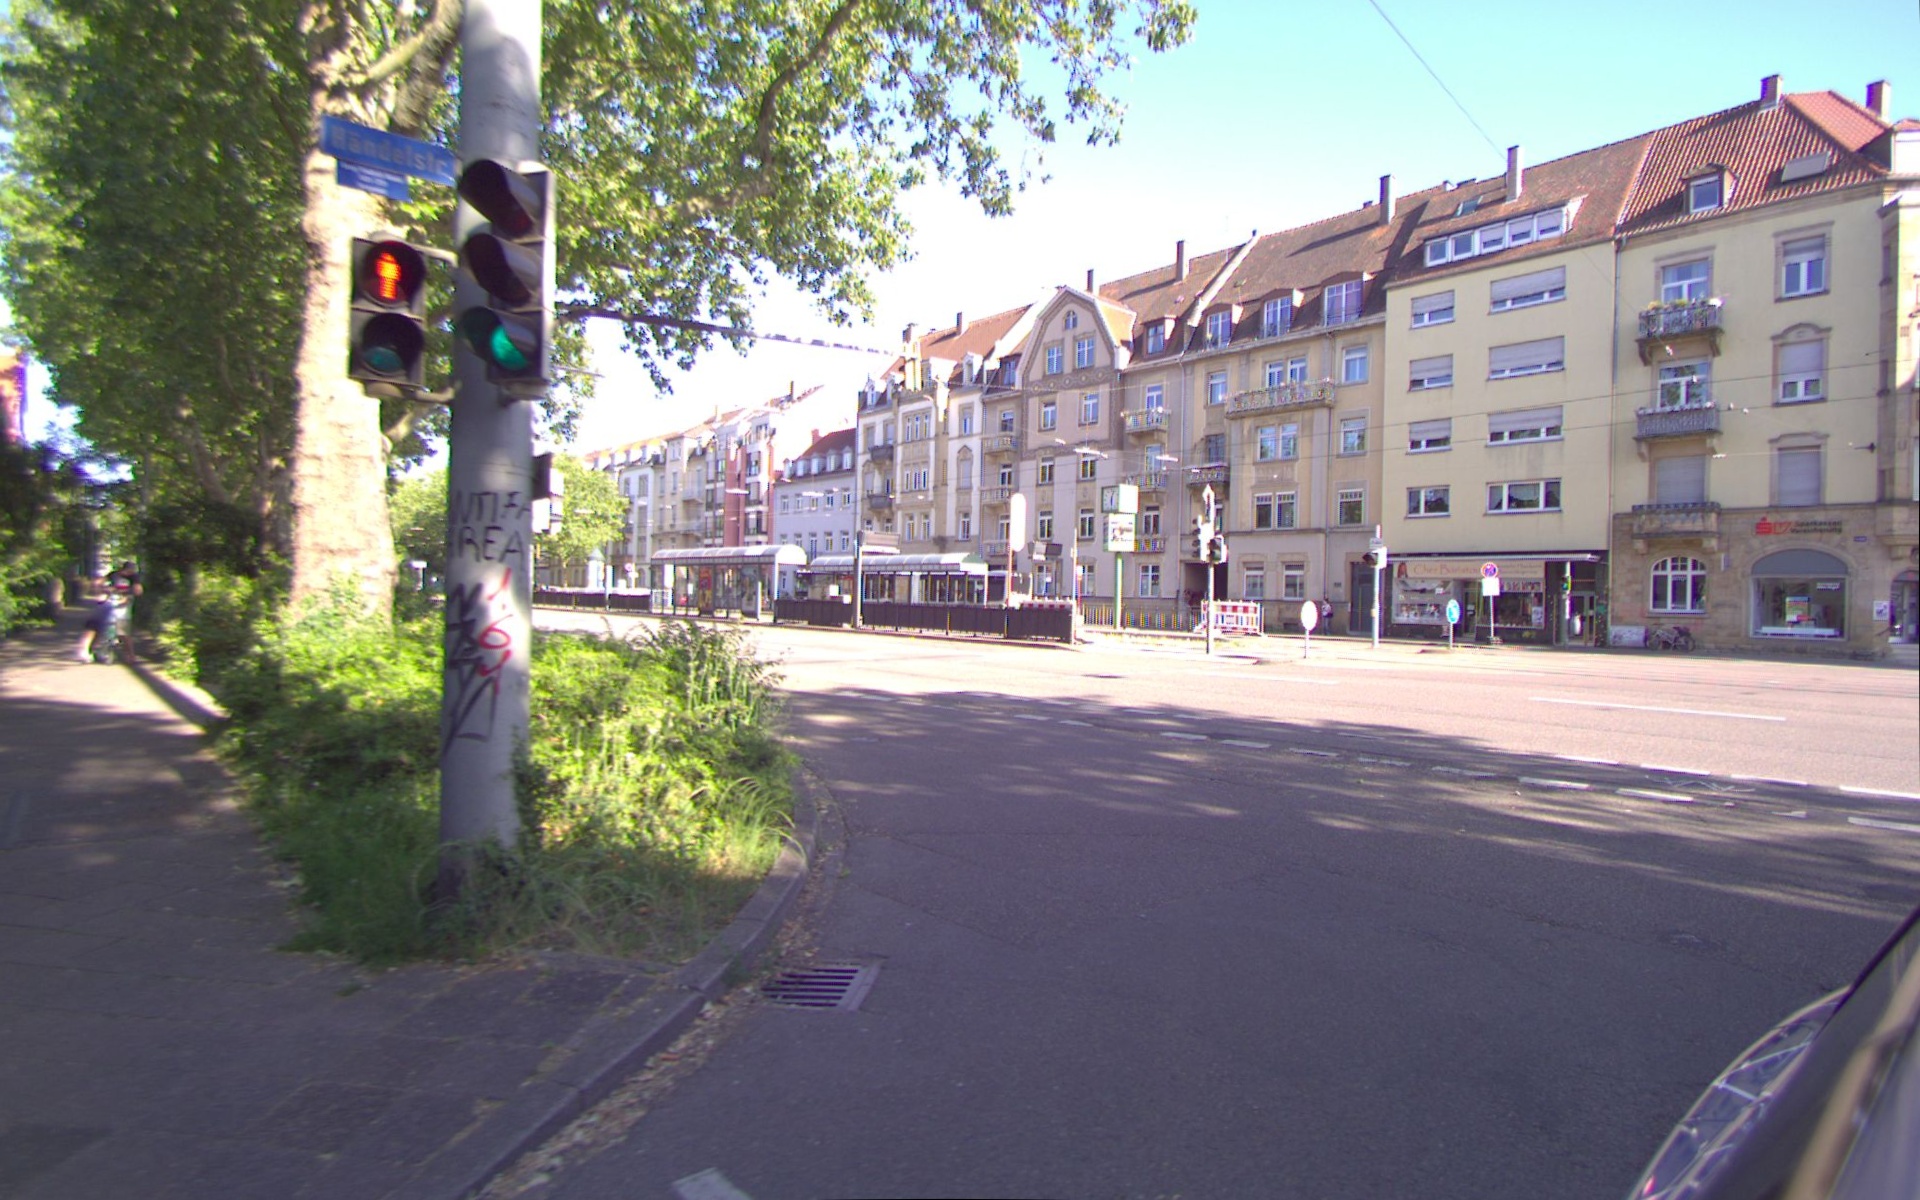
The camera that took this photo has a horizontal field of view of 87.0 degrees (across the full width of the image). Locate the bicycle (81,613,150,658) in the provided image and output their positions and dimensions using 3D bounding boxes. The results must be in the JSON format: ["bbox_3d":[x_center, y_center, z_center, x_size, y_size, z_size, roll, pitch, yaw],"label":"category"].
[{"bbox_3d":[-13.185,0.543,15.819,0.368,0.656,1.067,1,0,-13],"label":"bicycle"}]

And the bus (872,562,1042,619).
[{"bbox_3d":[-0.358,-0.653,61.157,10.633,3.072,3.088,2,-1,39],"label":"bus"}]

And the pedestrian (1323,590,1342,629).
[{"bbox_3d":[17.802,0.454,48.350,0.695,1.826,0.521,2,-1,-36],"label":"pedestrian"}]

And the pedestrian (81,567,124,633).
[{"bbox_3d":[-13.287,0.006,15.682,0.346,1.018,0.347,1,-2,-12],"label":"pedestrian"}]

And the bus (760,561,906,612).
[{"bbox_3d":[-8.700,-0.970,67.976,10.814,3.055,3.050,2,-1,39],"label":"bus"}]

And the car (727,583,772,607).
[{"bbox_3d":[-17.881,-0.438,85.835,1.995,1.918,3.993,3,-1,-42],"label":"car"}]

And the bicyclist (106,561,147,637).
[{"bbox_3d":[-13.227,-0.017,16.063,0.339,1.186,0.354,1,-2,-12],"label":"bicyclist"}]

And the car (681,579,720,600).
[{"bbox_3d":[-23.831,-0.949,92.794,1.769,1.812,3.993,3,-1,-42],"label":"car"}]

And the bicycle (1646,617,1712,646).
[{"bbox_3d":[26.915,1.175,37.888,0.507,0.987,1.951,-1,2,-39],"label":"bicycle"}]
